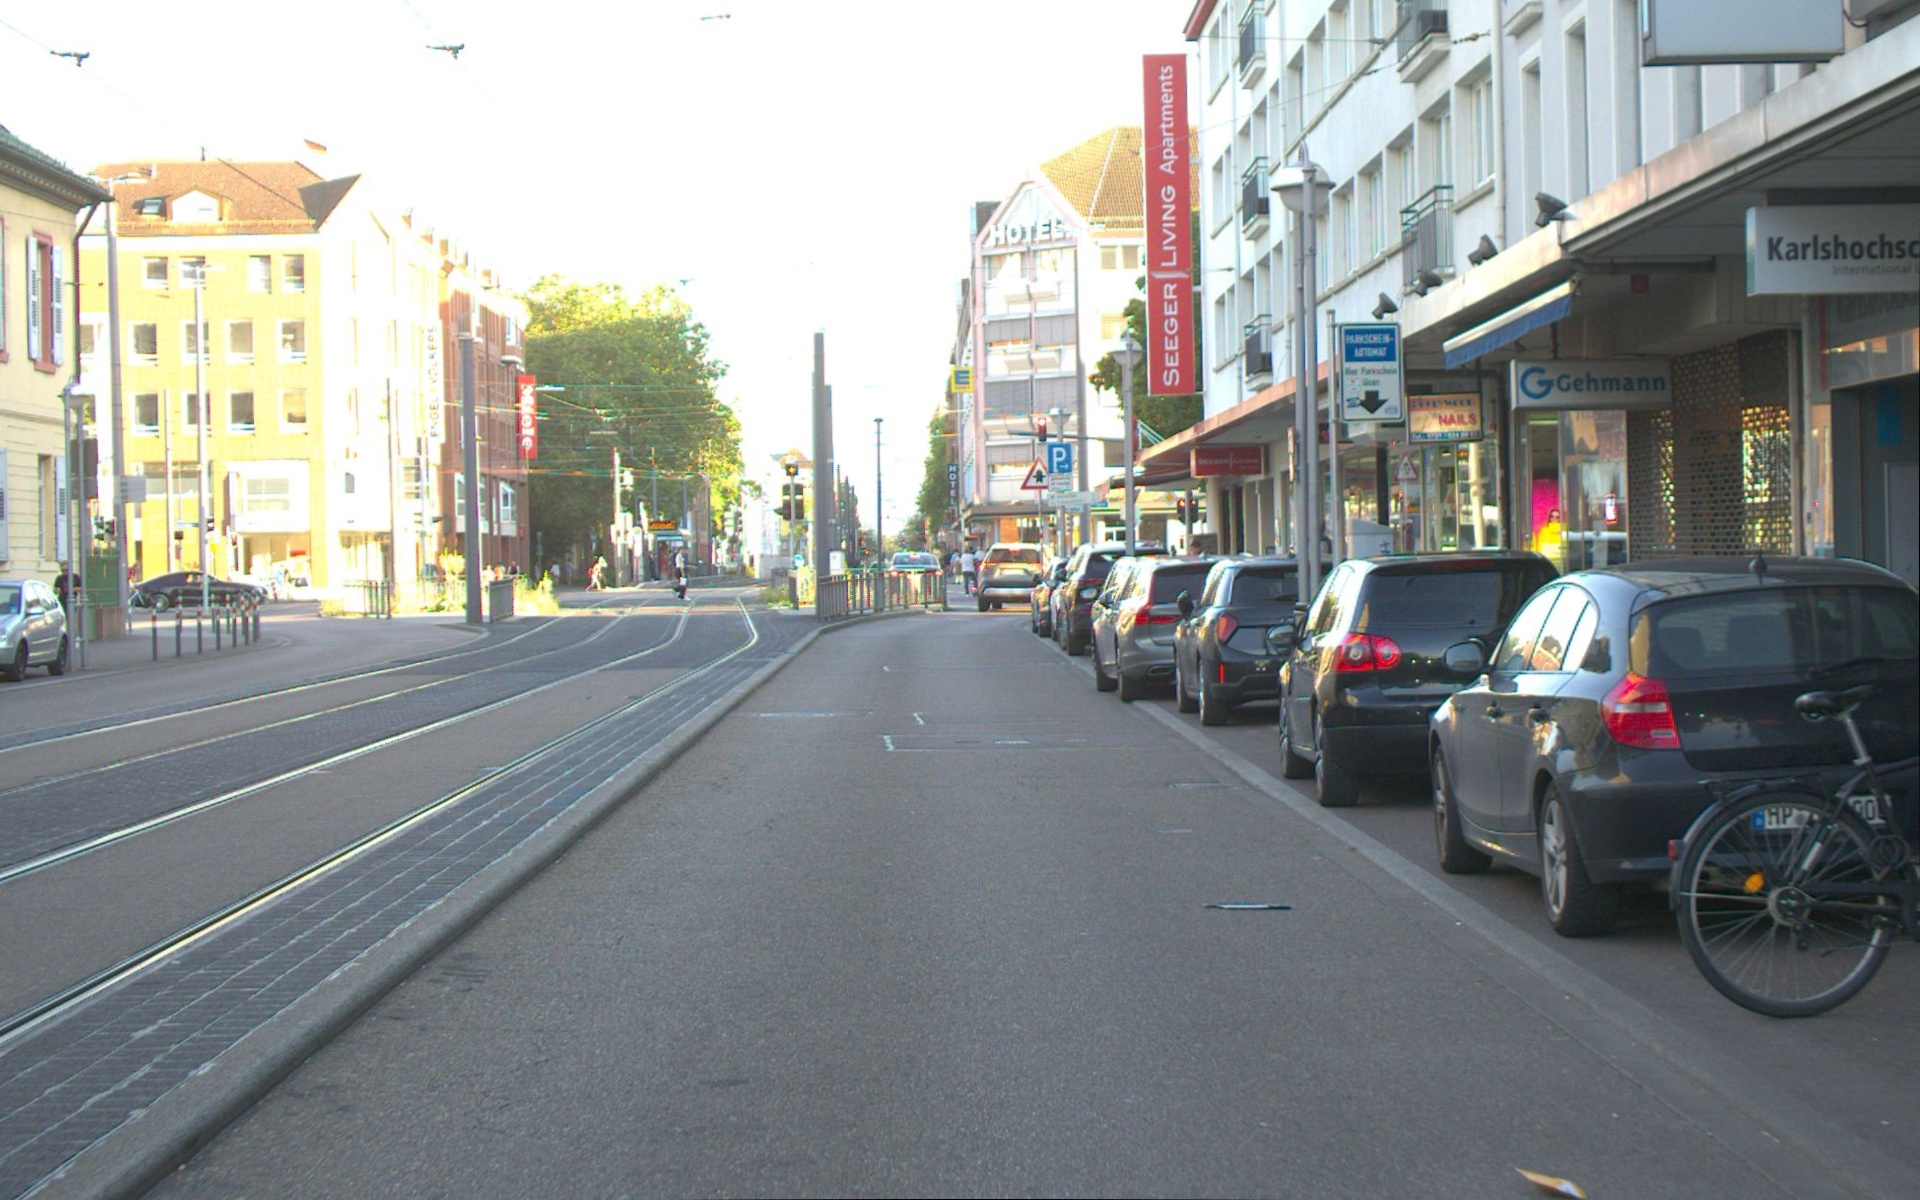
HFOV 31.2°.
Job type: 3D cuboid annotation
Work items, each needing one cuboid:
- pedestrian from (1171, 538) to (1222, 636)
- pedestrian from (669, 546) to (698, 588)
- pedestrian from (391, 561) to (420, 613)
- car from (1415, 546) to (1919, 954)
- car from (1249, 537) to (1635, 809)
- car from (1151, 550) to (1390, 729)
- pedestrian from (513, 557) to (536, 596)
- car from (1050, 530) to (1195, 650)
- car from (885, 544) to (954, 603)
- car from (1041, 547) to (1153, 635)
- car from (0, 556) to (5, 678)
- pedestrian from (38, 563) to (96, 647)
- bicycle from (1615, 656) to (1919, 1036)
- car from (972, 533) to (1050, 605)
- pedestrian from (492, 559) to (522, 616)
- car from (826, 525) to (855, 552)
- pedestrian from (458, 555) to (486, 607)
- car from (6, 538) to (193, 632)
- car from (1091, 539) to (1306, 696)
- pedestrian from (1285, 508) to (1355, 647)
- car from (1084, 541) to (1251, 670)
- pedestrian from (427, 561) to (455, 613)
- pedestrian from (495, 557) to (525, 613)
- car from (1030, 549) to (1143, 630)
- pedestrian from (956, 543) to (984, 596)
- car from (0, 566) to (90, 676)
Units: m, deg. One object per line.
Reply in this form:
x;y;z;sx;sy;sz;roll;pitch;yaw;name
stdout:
3.861;-0.219;56.172;0.733;1.568;0.967;-1;1;-1;pedestrian
-9.169;-1.090;113.961;0.903;1.370;0.854;-1;1;-3;pedestrian
-14.698;-0.346;91.076;0.663;1.370;0.652;-1;1;-3;pedestrian
3.040;0.531;14.446;1.654;1.458;4.023;1;0;-1;car
2.885;0.396;21.378;1.765;1.508;4.072;1;0;-1;car
2.723;0.319;30.904;1.726;1.476;4.000;1;0;-1;car
-22.585;-1.229;178.294;1.093;2.007;1.163;1;0;-3;pedestrian
2.387;-0.161;51.439;1.856;1.695;4.418;1;0;-1;car
-1.248;-0.806;106.543;1.993;1.590;4.000;-5;-1;0;car
2.280;-0.161;57.985;1.651;1.416;4.191;1;0;-1;car
-13.810;0.253;44.272;1.886;1.655;4.762;1;1;-3;car
-16.492;0.092;63.500;0.799;1.536;0.877;1;0;1;pedestrian
3.108;0.745;10.992;1.839;1.106;0.642;-3;0;-3;bicycle
1.246;-0.749;85.210;1.835;1.630;4.090;-2;-1;0;car
-11.083;-0.303;84.069;0.663;1.370;0.652;1;0;-3;pedestrian
-8.806;-4.544;253.755;1.993;1.894;4.000;1;0;0;car
-13.018;-0.506;91.651;0.663;1.370;0.652;-1;1;-3;pedestrian
-19.574;-0.355;78.187;3.986;2.007;2.001;-1;1;-17;car
2.458;0.155;36.524;1.791;1.528;4.857;1;0;-2;car
4.929;-0.310;47.113;0.774;1.874;0.935;-1;0;-2;pedestrian
2.565;0.030;43.337;1.781;1.517;4.357;1;1;-1;car
-13.796;-0.349;91.393;0.663;1.370;0.652;0;1;-3;pedestrian
-11.105;-0.376;84.812;0.663;1.370;0.652;1;0;-3;pedestrian
2.274;-0.199;63.036;1.790;1.408;4.688;1;0;-1;car
0.318;-1.002;111.947;0.874;1.700;0.700;1;0;2;pedestrian
-14.028;0.270;50.085;1.748;1.469;4.000;1;1;-1;car
